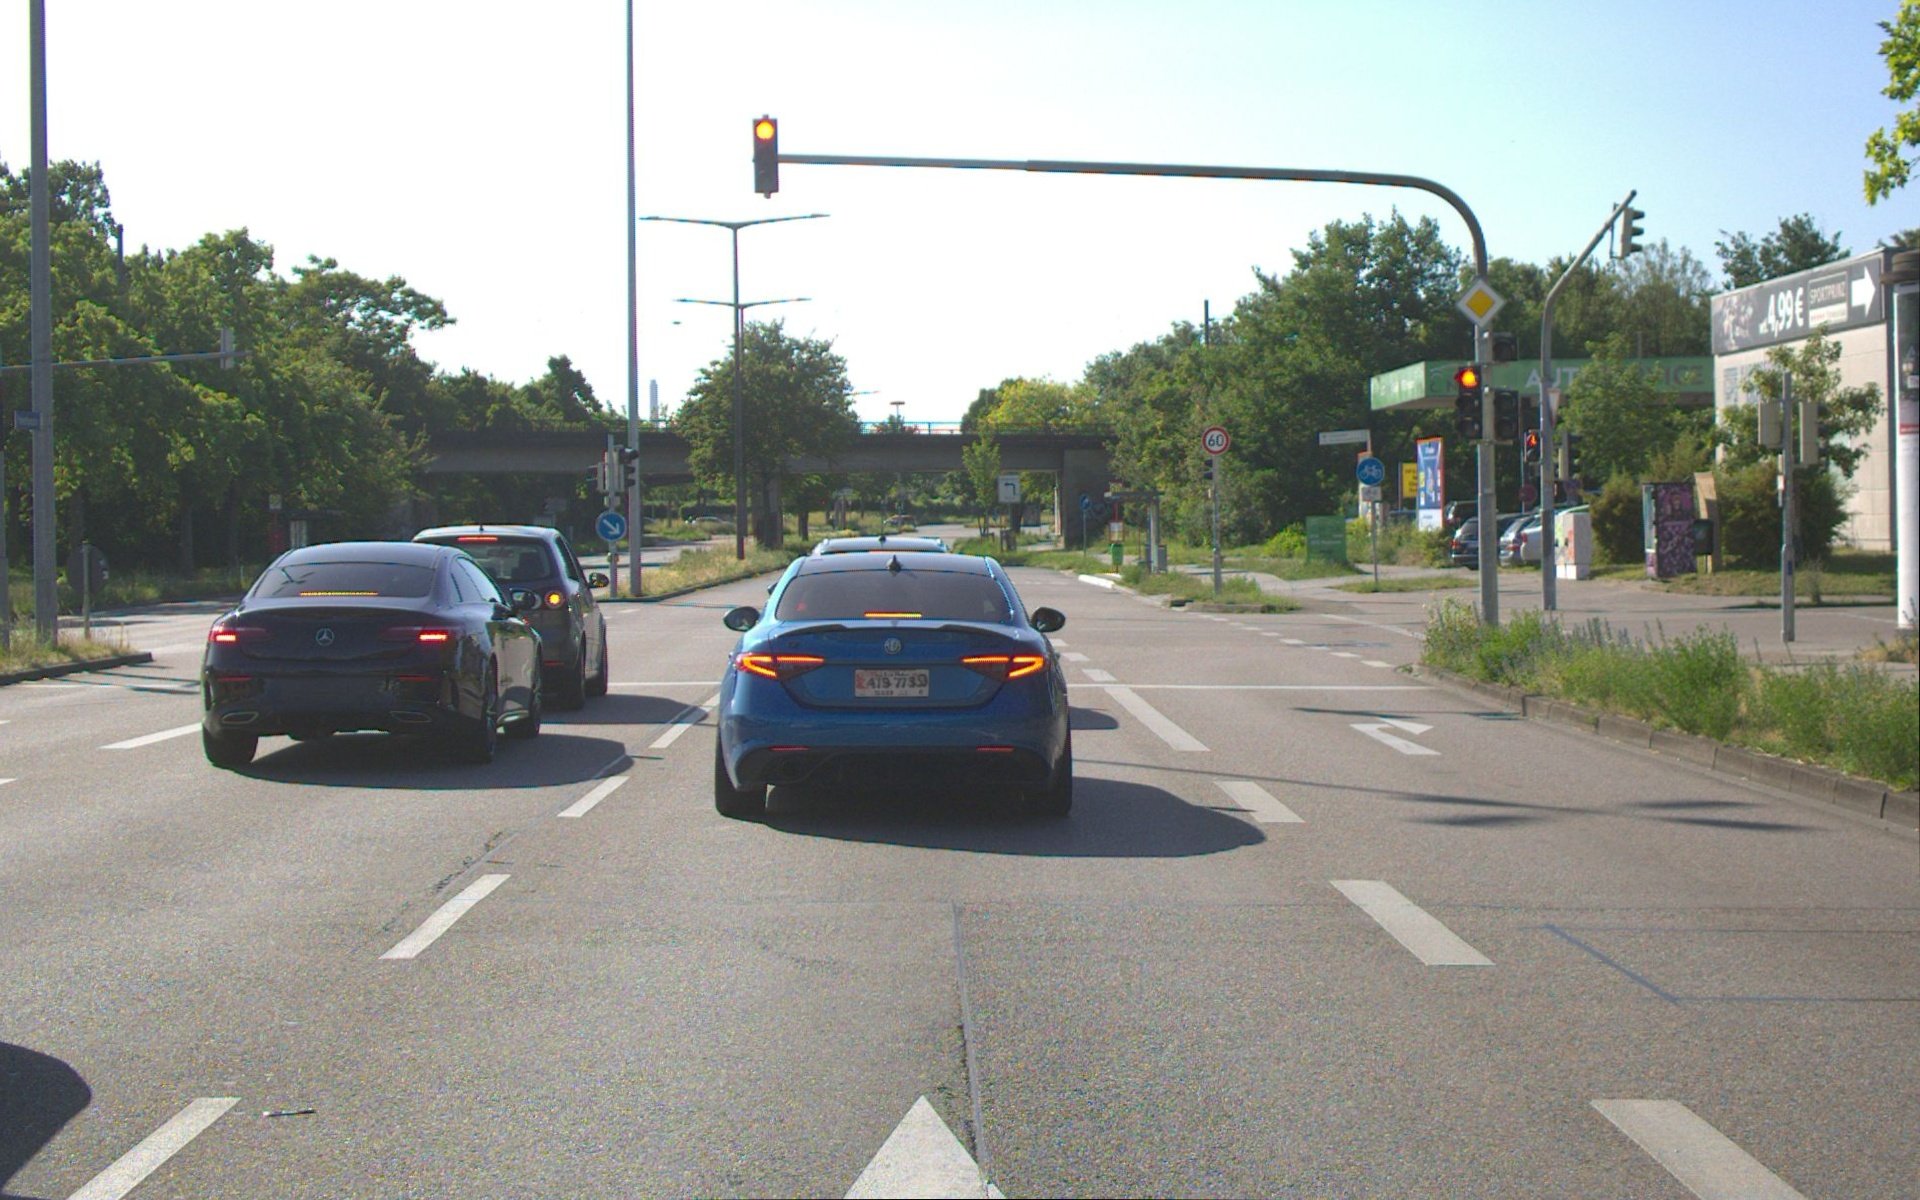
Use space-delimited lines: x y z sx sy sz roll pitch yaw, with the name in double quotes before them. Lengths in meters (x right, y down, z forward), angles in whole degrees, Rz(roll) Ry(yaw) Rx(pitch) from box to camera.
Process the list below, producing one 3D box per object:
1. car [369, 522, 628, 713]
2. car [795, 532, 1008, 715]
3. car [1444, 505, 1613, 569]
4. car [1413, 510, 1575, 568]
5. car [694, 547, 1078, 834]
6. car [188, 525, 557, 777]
"car" -4.002 0.121 30.422 1.812 1.546 4.354 1 1 -2
"car" -0.456 0.177 30.197 1.704 1.492 3.719 1 1 1
"car" 14.461 -1.601 87.610 3.987 1.547 2.000 1 0 1
"car" 14.936 -1.692 96.165 3.986 1.547 2.001 1 0 -17
"car" -0.329 0.436 19.092 1.910 1.418 3.719 1 1 1
"car" -3.889 0.271 23.473 1.812 1.546 4.544 0 1 -1
